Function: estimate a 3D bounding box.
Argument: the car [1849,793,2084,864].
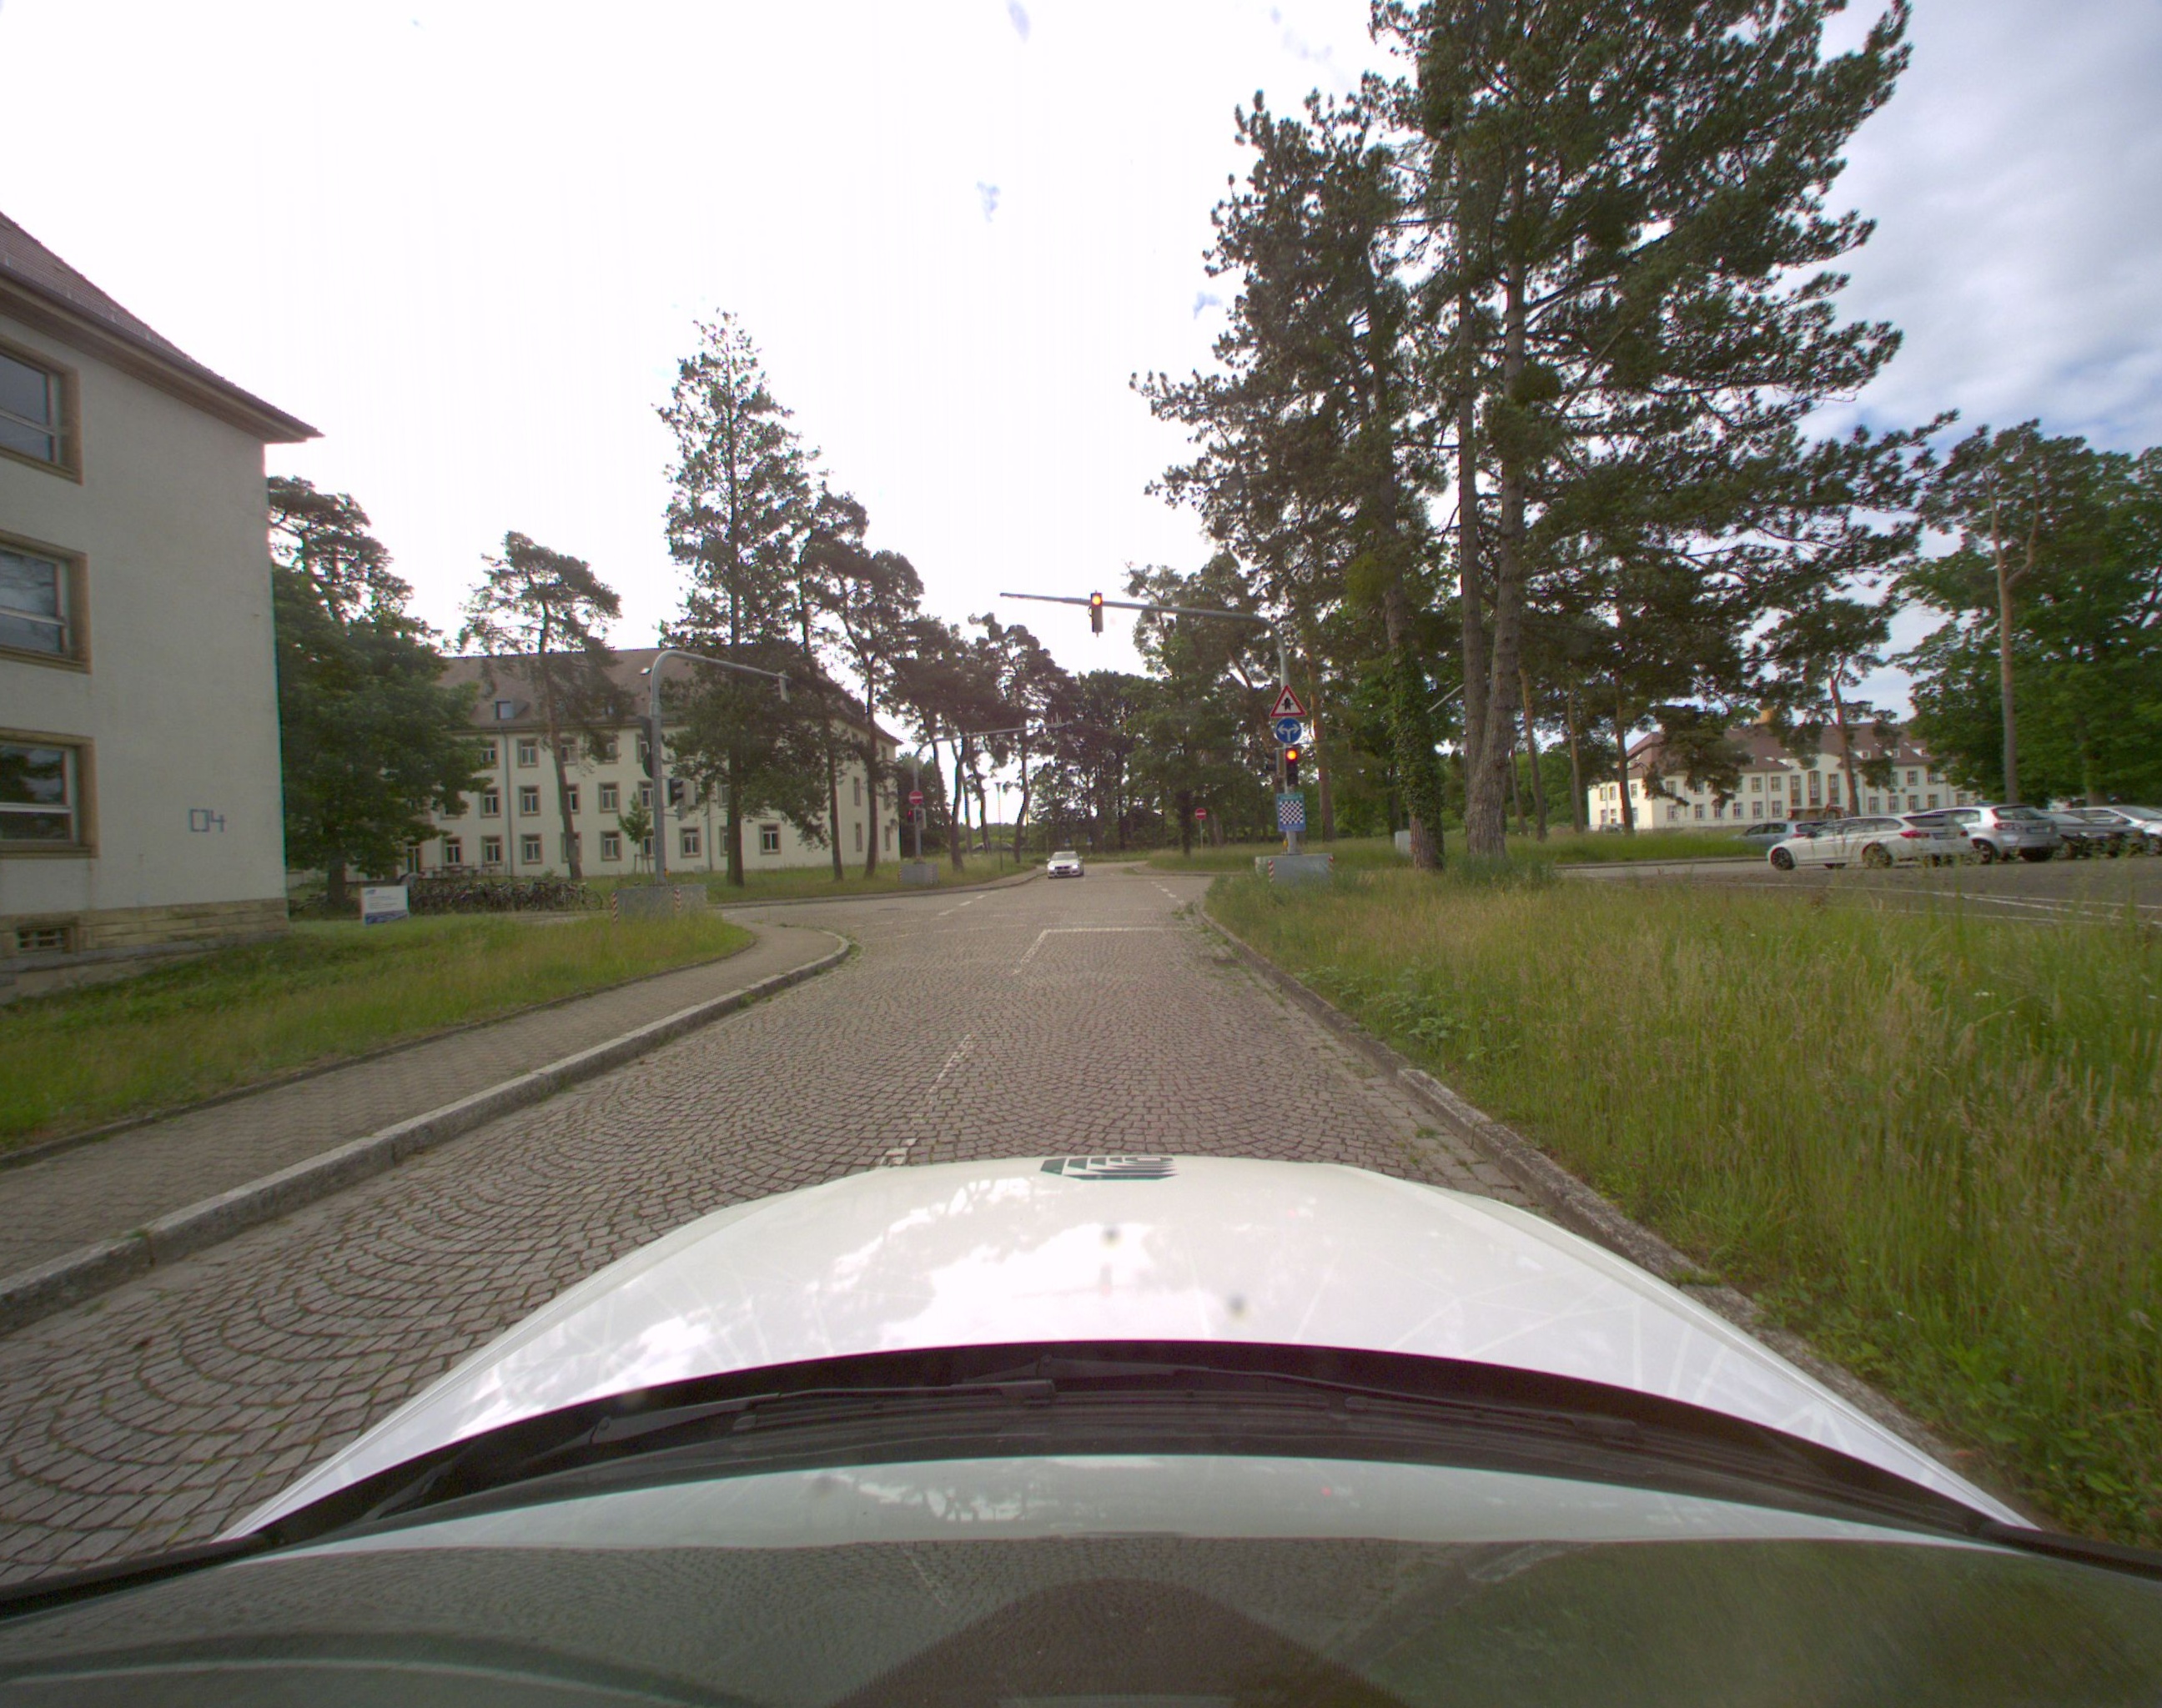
[{"bbox_3d":[24.273,-0.624,22.602,1.777,1.605,4.240,-3,-2,-1],"label":"car"}]

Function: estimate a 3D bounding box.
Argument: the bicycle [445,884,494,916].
[{"bbox_3d":[-22.908,1.699,30.539,0.512,1.079,1.586,-3,0,2],"label":"bicycle"}]

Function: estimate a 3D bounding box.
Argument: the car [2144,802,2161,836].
[{"bbox_3d":[47.392,-1.521,33.676,1.608,1.501,4.252,-2,1,7],"label":"car"}]

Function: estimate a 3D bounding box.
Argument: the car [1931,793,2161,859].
[{"bbox_3d":[26.903,-0.697,22.867,1.694,1.485,4.246,-3,-2,3],"label":"car"}]

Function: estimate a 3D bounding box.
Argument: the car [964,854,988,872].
[{"bbox_3d":[-11.198,0.907,87.075,1.988,1.846,3.998,-1,0,-1],"label":"car"}]

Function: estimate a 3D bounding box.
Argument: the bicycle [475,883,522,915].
[{"bbox_3d":[-21.834,1.655,30.555,0.512,1.079,1.586,-3,0,2],"label":"bicycle"}]

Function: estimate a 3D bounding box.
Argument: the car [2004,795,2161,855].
[{"bbox_3d":[29.649,-0.812,23.315,1.694,1.485,4.246,-3,-2,3],"label":"car"}]

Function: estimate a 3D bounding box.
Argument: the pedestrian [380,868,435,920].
[{"bbox_3d":[-24.715,1.443,29.896,1.050,1.788,1.165,-2,2,30],"label":"pedestrian"}]

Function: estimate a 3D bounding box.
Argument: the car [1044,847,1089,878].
[{"bbox_3d":[-0.760,0.444,45.160,1.764,1.438,4.227,-5,1,7],"label":"car"}]

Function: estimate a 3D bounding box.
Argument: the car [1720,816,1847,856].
[{"bbox_3d":[29.066,-0.741,33.883,1.727,1.509,4.247,-2,1,3],"label":"car"}]

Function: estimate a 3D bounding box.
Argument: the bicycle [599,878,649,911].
[{"bbox_3d":[-16.445,1.453,29.316,1.460,1.065,0.516,-3,0,-1],"label":"bicycle"}]

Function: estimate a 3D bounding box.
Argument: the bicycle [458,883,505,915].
[{"bbox_3d":[-22.456,1.688,30.541,0.512,1.079,1.586,-3,0,2],"label":"bicycle"}]

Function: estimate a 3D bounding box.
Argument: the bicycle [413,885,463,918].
[{"bbox_3d":[-24.087,1.765,30.544,0.512,1.079,1.586,-3,0,2],"label":"bicycle"}]

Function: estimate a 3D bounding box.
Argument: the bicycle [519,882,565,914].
[{"bbox_3d":[-20.141,1.617,30.486,0.512,1.079,1.587,-3,0,5],"label":"bicycle"}]

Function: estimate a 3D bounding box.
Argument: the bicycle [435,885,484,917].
[{"bbox_3d":[-23.292,1.735,30.535,0.512,1.079,1.586,-3,0,2],"label":"bicycle"}]

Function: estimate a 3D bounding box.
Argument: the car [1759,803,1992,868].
[{"bbox_3d":[21.638,-0.430,22.523,1.843,1.486,4.606,-1,-2,-1],"label":"car"}]

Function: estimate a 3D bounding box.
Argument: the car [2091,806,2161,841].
[{"bbox_3d":[44.510,-1.272,33.184,1.724,1.390,4.252,-2,1,7],"label":"car"}]

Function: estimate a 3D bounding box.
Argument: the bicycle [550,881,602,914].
[{"bbox_3d":[-18.081,1.555,29.167,1.460,1.079,0.516,-3,0,-1],"label":"bicycle"}]

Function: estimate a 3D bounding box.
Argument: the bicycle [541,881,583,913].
[{"bbox_3d":[-19.462,1.605,30.567,0.513,1.079,1.584,-3,0,-1],"label":"bicycle"}]

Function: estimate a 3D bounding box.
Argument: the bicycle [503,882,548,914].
[{"bbox_3d":[-20.842,1.628,30.586,0.512,1.079,1.586,-3,0,2],"label":"bicycle"}]

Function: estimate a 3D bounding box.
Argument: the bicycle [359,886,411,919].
[{"bbox_3d":[-26.115,1.805,30.590,0.512,1.079,1.586,-3,0,2],"label":"bicycle"}]

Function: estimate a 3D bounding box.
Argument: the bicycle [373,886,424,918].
[{"bbox_3d":[-25.614,1.797,30.594,0.512,1.079,1.586,-3,0,2],"label":"bicycle"}]

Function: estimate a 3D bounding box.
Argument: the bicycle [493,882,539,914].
[{"bbox_3d":[-21.203,1.634,30.595,0.512,1.079,1.586,-3,0,2],"label":"bicycle"}]
